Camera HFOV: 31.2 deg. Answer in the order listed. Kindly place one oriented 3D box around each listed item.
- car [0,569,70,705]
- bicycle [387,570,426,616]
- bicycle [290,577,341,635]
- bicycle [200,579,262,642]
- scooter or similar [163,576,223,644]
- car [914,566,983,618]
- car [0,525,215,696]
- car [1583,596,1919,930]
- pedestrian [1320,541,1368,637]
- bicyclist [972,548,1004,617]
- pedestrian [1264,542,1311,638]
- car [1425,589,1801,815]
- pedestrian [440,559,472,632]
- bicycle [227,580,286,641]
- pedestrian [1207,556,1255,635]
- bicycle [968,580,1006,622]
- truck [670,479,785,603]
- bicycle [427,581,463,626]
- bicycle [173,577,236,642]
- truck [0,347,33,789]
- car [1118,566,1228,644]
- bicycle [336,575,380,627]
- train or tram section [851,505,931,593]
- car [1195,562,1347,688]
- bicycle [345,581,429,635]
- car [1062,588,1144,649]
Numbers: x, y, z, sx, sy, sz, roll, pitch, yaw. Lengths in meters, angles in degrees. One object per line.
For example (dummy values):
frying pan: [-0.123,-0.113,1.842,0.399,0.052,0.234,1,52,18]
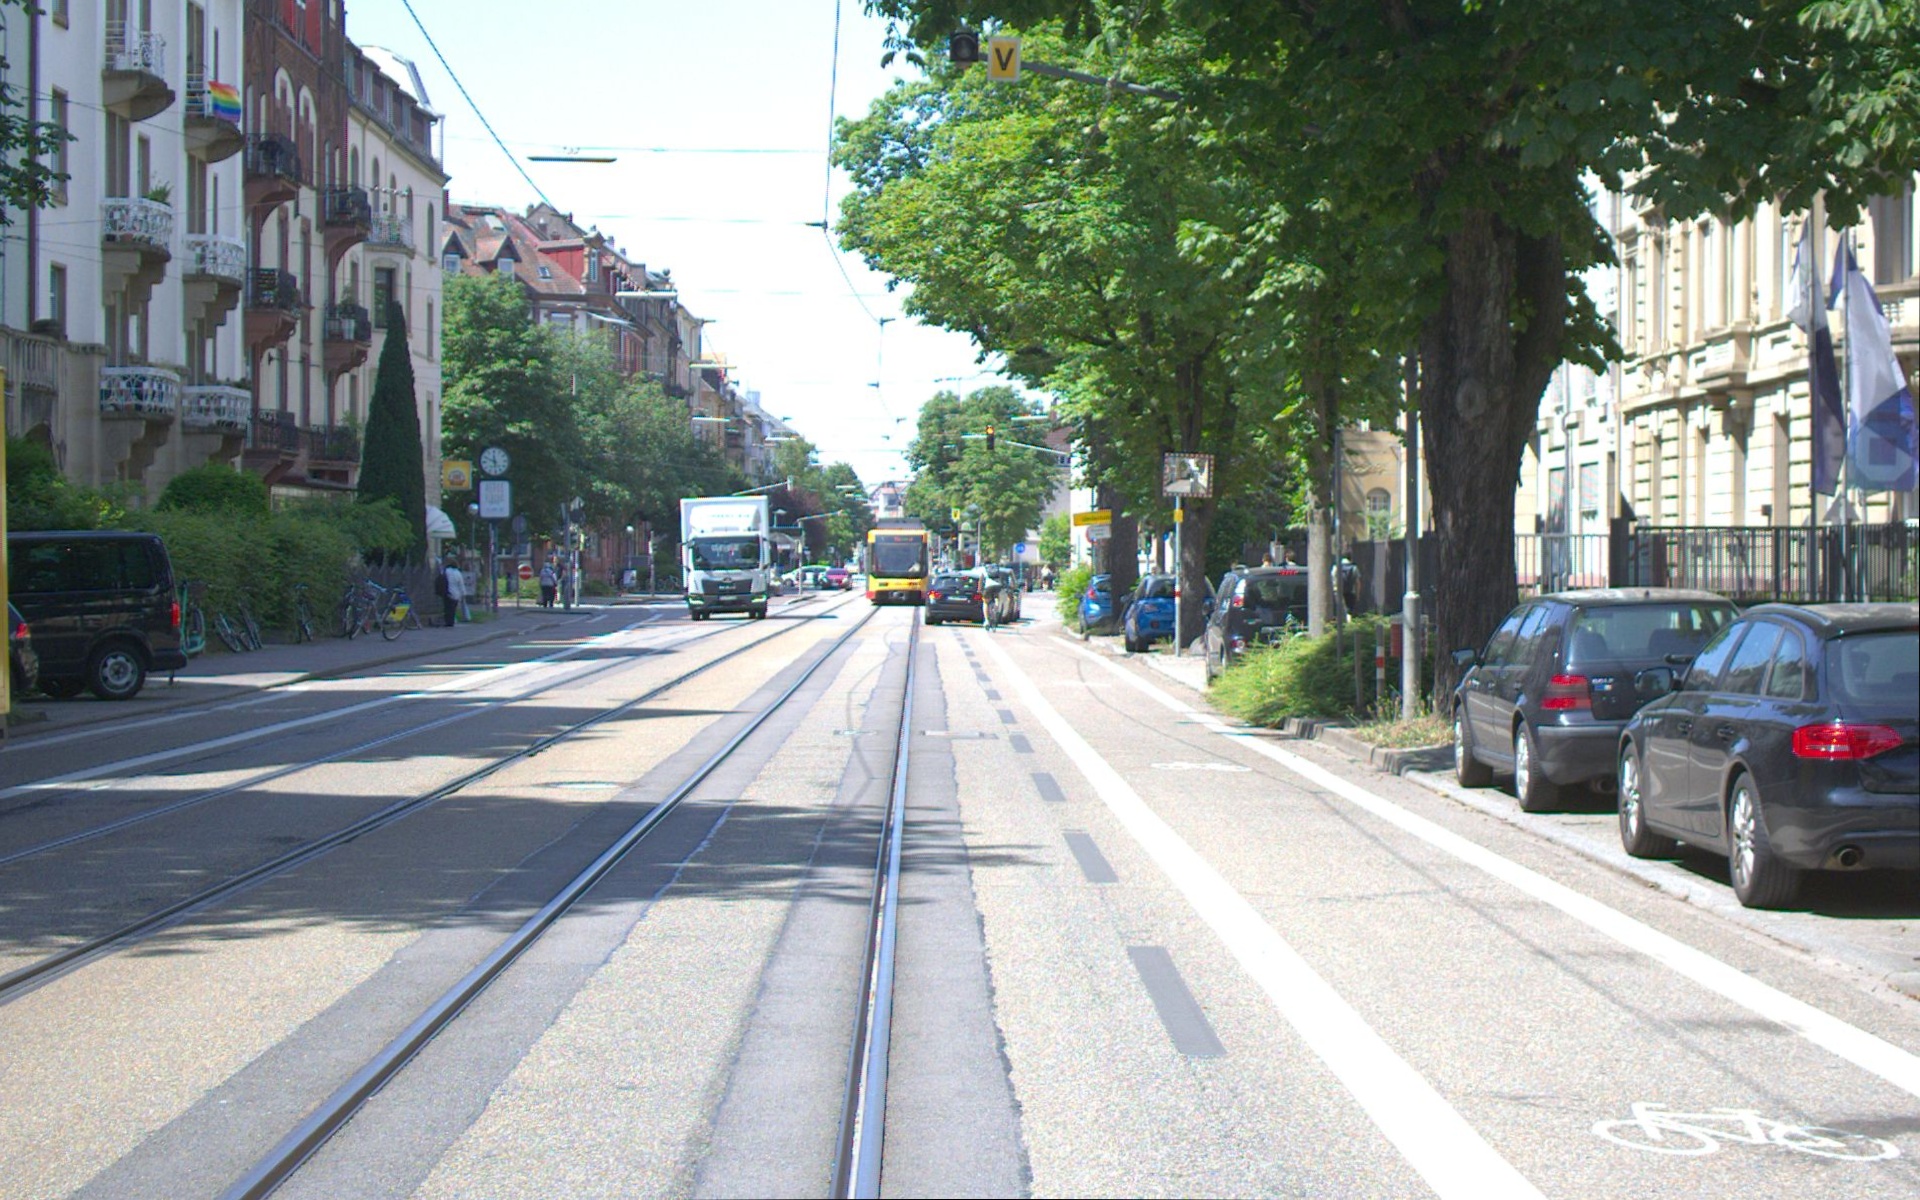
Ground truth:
car: [-11.626,0.396,36.672,3.801,1.451,1.633,0,0,-40]
bicycle: [-11.973,-0.162,74.407,0.543,0.966,1.781,2,1,0]
bicycle: [-11.656,0.101,62.217,0.543,0.966,1.990,2,1,0]
bicycle: [-11.640,0.166,54.951,0.543,0.966,1.990,2,0,0]
scooter or similar: [-11.431,0.148,51.278,0.543,0.966,1.499,2,1,0]
car: [-0.315,-0.224,91.116,1.781,1.341,3.416,0,1,0]
car: [-11.076,0.122,39.861,4.474,1.934,1.704,0,0,-39]
car: [4.537,0.719,17.493,1.876,1.450,4.528,0,0,0]
pedestrian: [7.429,-0.209,66.527,0.808,1.853,0.623,0,-1,-2]
bicyclist: [0.676,-0.418,83.118,0.622,1.610,0.864,2,-1,8]
pedestrian: [6.327,-0.190,66.431,0.808,1.853,0.576,0,-1,-2]
car: [4.421,0.638,23.881,1.710,1.418,4.244,0,0,-1]
pedestrian: [-11.224,-0.098,76.574,0.572,1.610,0.816,0,1,0]
bicycle: [-11.644,0.180,56.977,0.543,0.966,1.990,2,-1,0]
pedestrian: [5.319,-0.087,67.437,0.809,1.525,0.623,0,-1,17]
bicycle: [0.660,0.033,82.996,0.639,0.966,1.780,2,-1,9]
truck: [-6.900,-1.773,103.117,2.939,3.538,8.453,0,1,-1]
bicycle: [-11.797,0.069,78.740,0.543,0.966,1.781,2,2,0]
bicycle: [-11.629,0.162,52.964,0.543,0.966,1.822,2,-1,0]
truck: [-7.381,-0.144,19.124,2.360,2.843,7.378,0,1,1]
car: [4.007,0.078,65.120,1.710,1.418,4.310,0,0,-1]
bicycle: [-11.877,0.017,67.844,0.543,0.966,1.781,2,1,0]
train or tram section: [-2.747,-2.082,140.482,3.035,3.427,11.971,0,1,0]
car: [4.108,0.310,45.912,1.592,1.611,3.908,0,0,-1]
bicycle: [-10.781,0.154,64.714,0.544,0.966,1.778,1,-1,29]
car: [3.455,0.429,83.415,1.710,1.418,4.310,0,0,-1]
